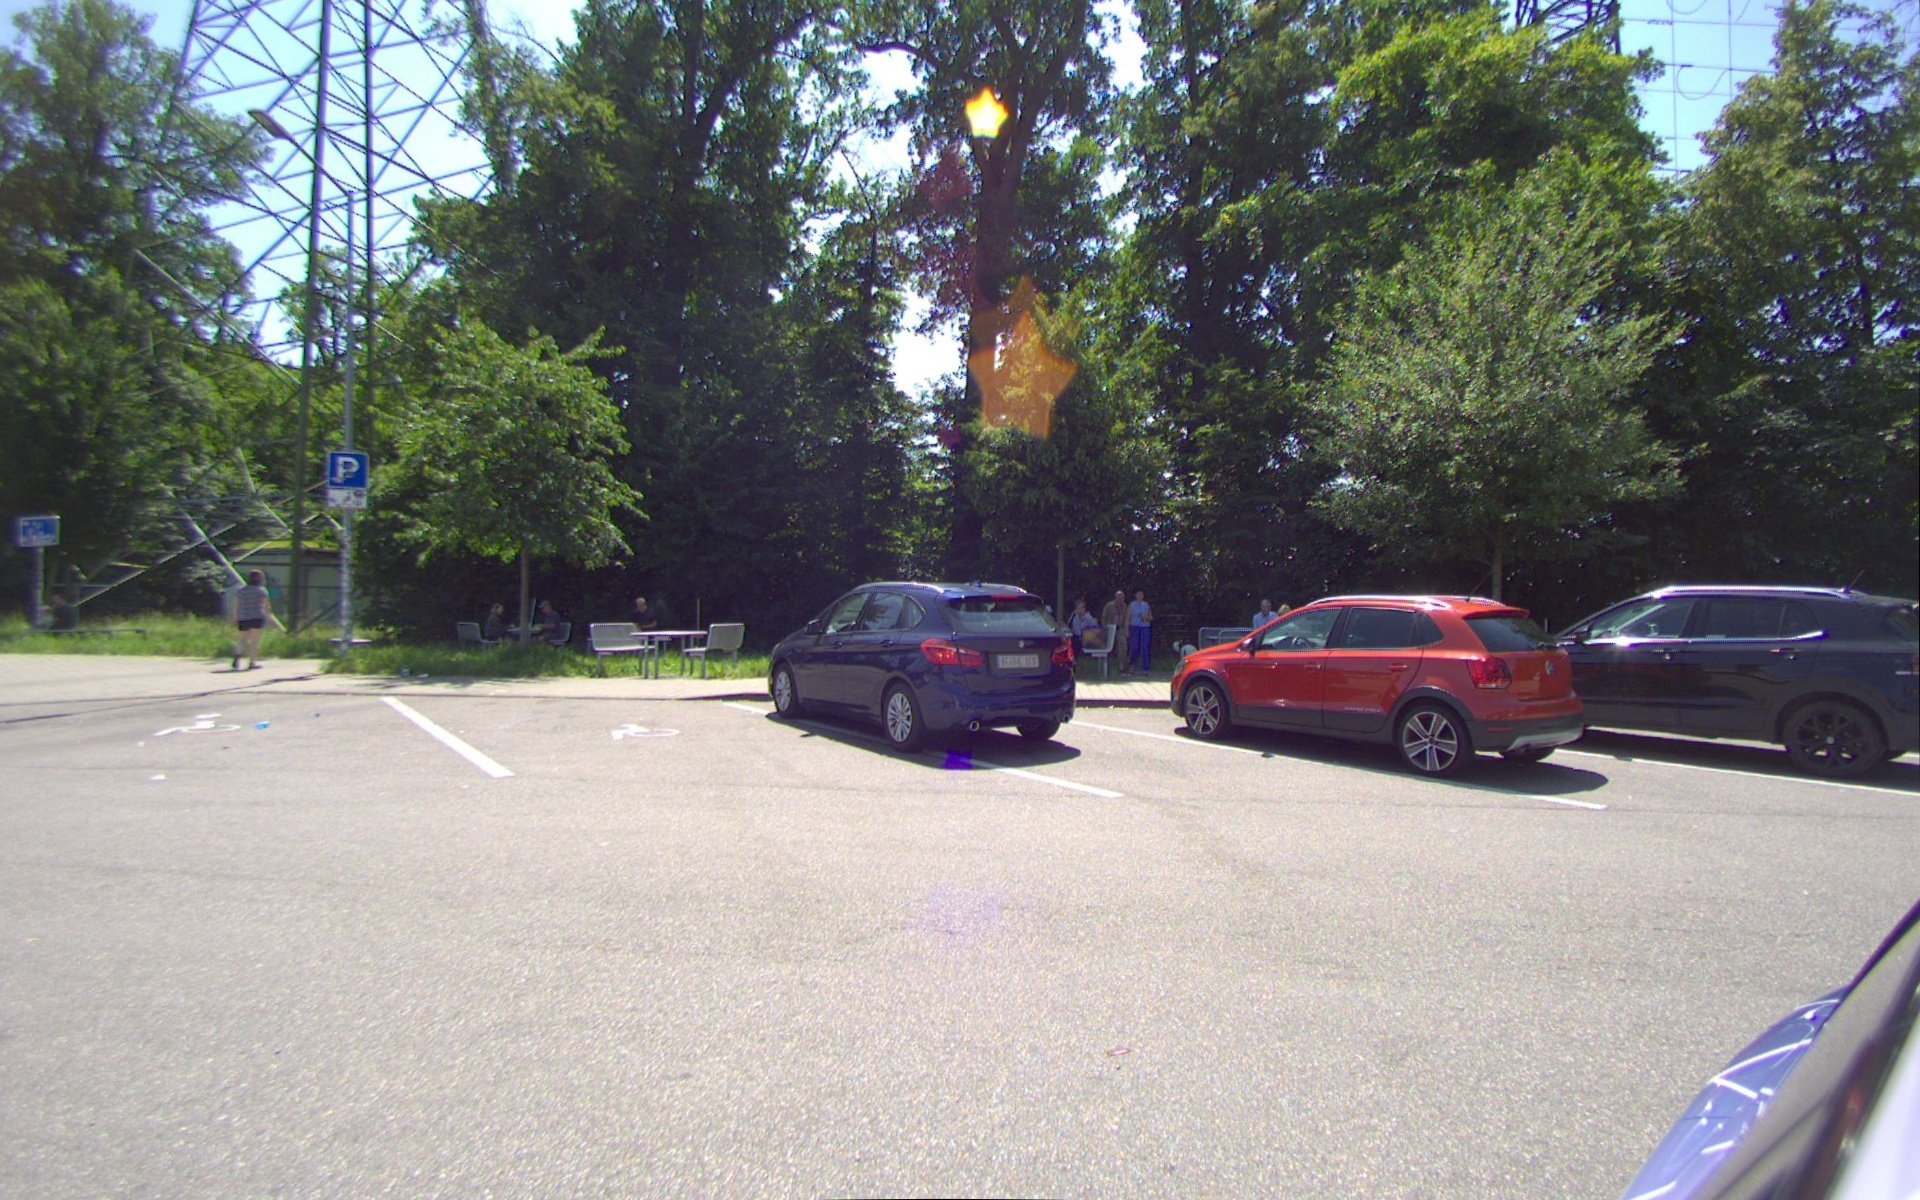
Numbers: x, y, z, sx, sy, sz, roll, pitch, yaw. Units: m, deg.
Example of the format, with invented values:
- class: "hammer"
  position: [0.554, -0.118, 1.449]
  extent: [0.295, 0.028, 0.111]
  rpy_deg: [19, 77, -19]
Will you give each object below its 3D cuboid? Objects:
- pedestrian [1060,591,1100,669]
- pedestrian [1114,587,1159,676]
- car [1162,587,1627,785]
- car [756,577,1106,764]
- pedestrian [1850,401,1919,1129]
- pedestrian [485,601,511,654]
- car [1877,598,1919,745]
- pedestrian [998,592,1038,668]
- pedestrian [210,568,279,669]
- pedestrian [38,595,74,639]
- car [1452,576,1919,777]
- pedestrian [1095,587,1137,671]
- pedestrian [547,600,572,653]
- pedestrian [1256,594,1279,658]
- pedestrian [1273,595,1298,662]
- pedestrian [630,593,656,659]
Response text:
- class: "pedestrian"
  position: [2.001, 0.487, 16.856]
  extent: [0.586, 1.261, 0.498]
  rpy_deg: [0, 0, 16]
- class: "pedestrian"
  position: [3.284, 0.565, 18.882]
  extent: [0.634, 1.625, 0.573]
  rpy_deg: [0, 0, -14]
- class: "car"
  position: [3.879, 0.629, 9.648]
  extent: [1.619, 1.487, 3.830]
  rpy_deg: [0, 0, -33]
- class: "car"
  position: [-0.542, 0.545, 10.788]
  extent: [1.714, 1.572, 4.347]
  rpy_deg: [0, 1, -33]
- class: "pedestrian"
  position: [2.996, 0.450, 2.482]
  extent: [0.799, 1.974, 0.920]
  rpy_deg: [0, 0, 1]
- class: "pedestrian"
  position: [-10.435, 0.607, 22.858]
  extent: [0.452, 1.182, 0.447]
  rpy_deg: [0, 0, -34]
- class: "car"
  position: [10.895, 0.697, 9.010]
  extent: [1.620, 1.420, 3.826]
  rpy_deg: [0, 0, -37]
- class: "pedestrian"
  position: [0.988, 0.490, 17.112]
  extent: [0.586, 1.261, 0.445]
  rpy_deg: [0, 0, 16]
- class: "pedestrian"
  position: [-12.120, 0.303, 17.157]
  extent: [0.674, 1.670, 0.715]
  rpy_deg: [0, 0, -2]
- class: "pedestrian"
  position: [-20.953, 0.390, 23.457]
  extent: [0.452, 0.987, 0.447]
  rpy_deg: [0, 0, -2]
- class: "car"
  position: [7.095, 0.587, 9.865]
  extent: [1.620, 1.575, 3.826]
  rpy_deg: [0, 0, -37]
- class: "pedestrian"
  position: [3.065, 0.556, 19.937]
  extent: [0.634, 1.625, 0.573]
  rpy_deg: [0, 0, -14]
- class: "pedestrian"
  position: [-9.346, 0.607, 23.598]
  extent: [0.452, 1.209, 0.447]
  rpy_deg: [0, 0, -34]
- class: "pedestrian"
  position: [5.818, 0.485, 19.125]
  extent: [0.350, 1.180, 0.384]
  rpy_deg: [0, 0, 8]
- class: "pedestrian"
  position: [5.769, 0.497, 17.950]
  extent: [0.350, 1.180, 0.384]
  rpy_deg: [0, 0, 8]
- class: "pedestrian"
  position: [-6.688, 0.539, 21.346]
  extent: [0.438, 1.363, 0.462]
  rpy_deg: [0, 0, -5]
